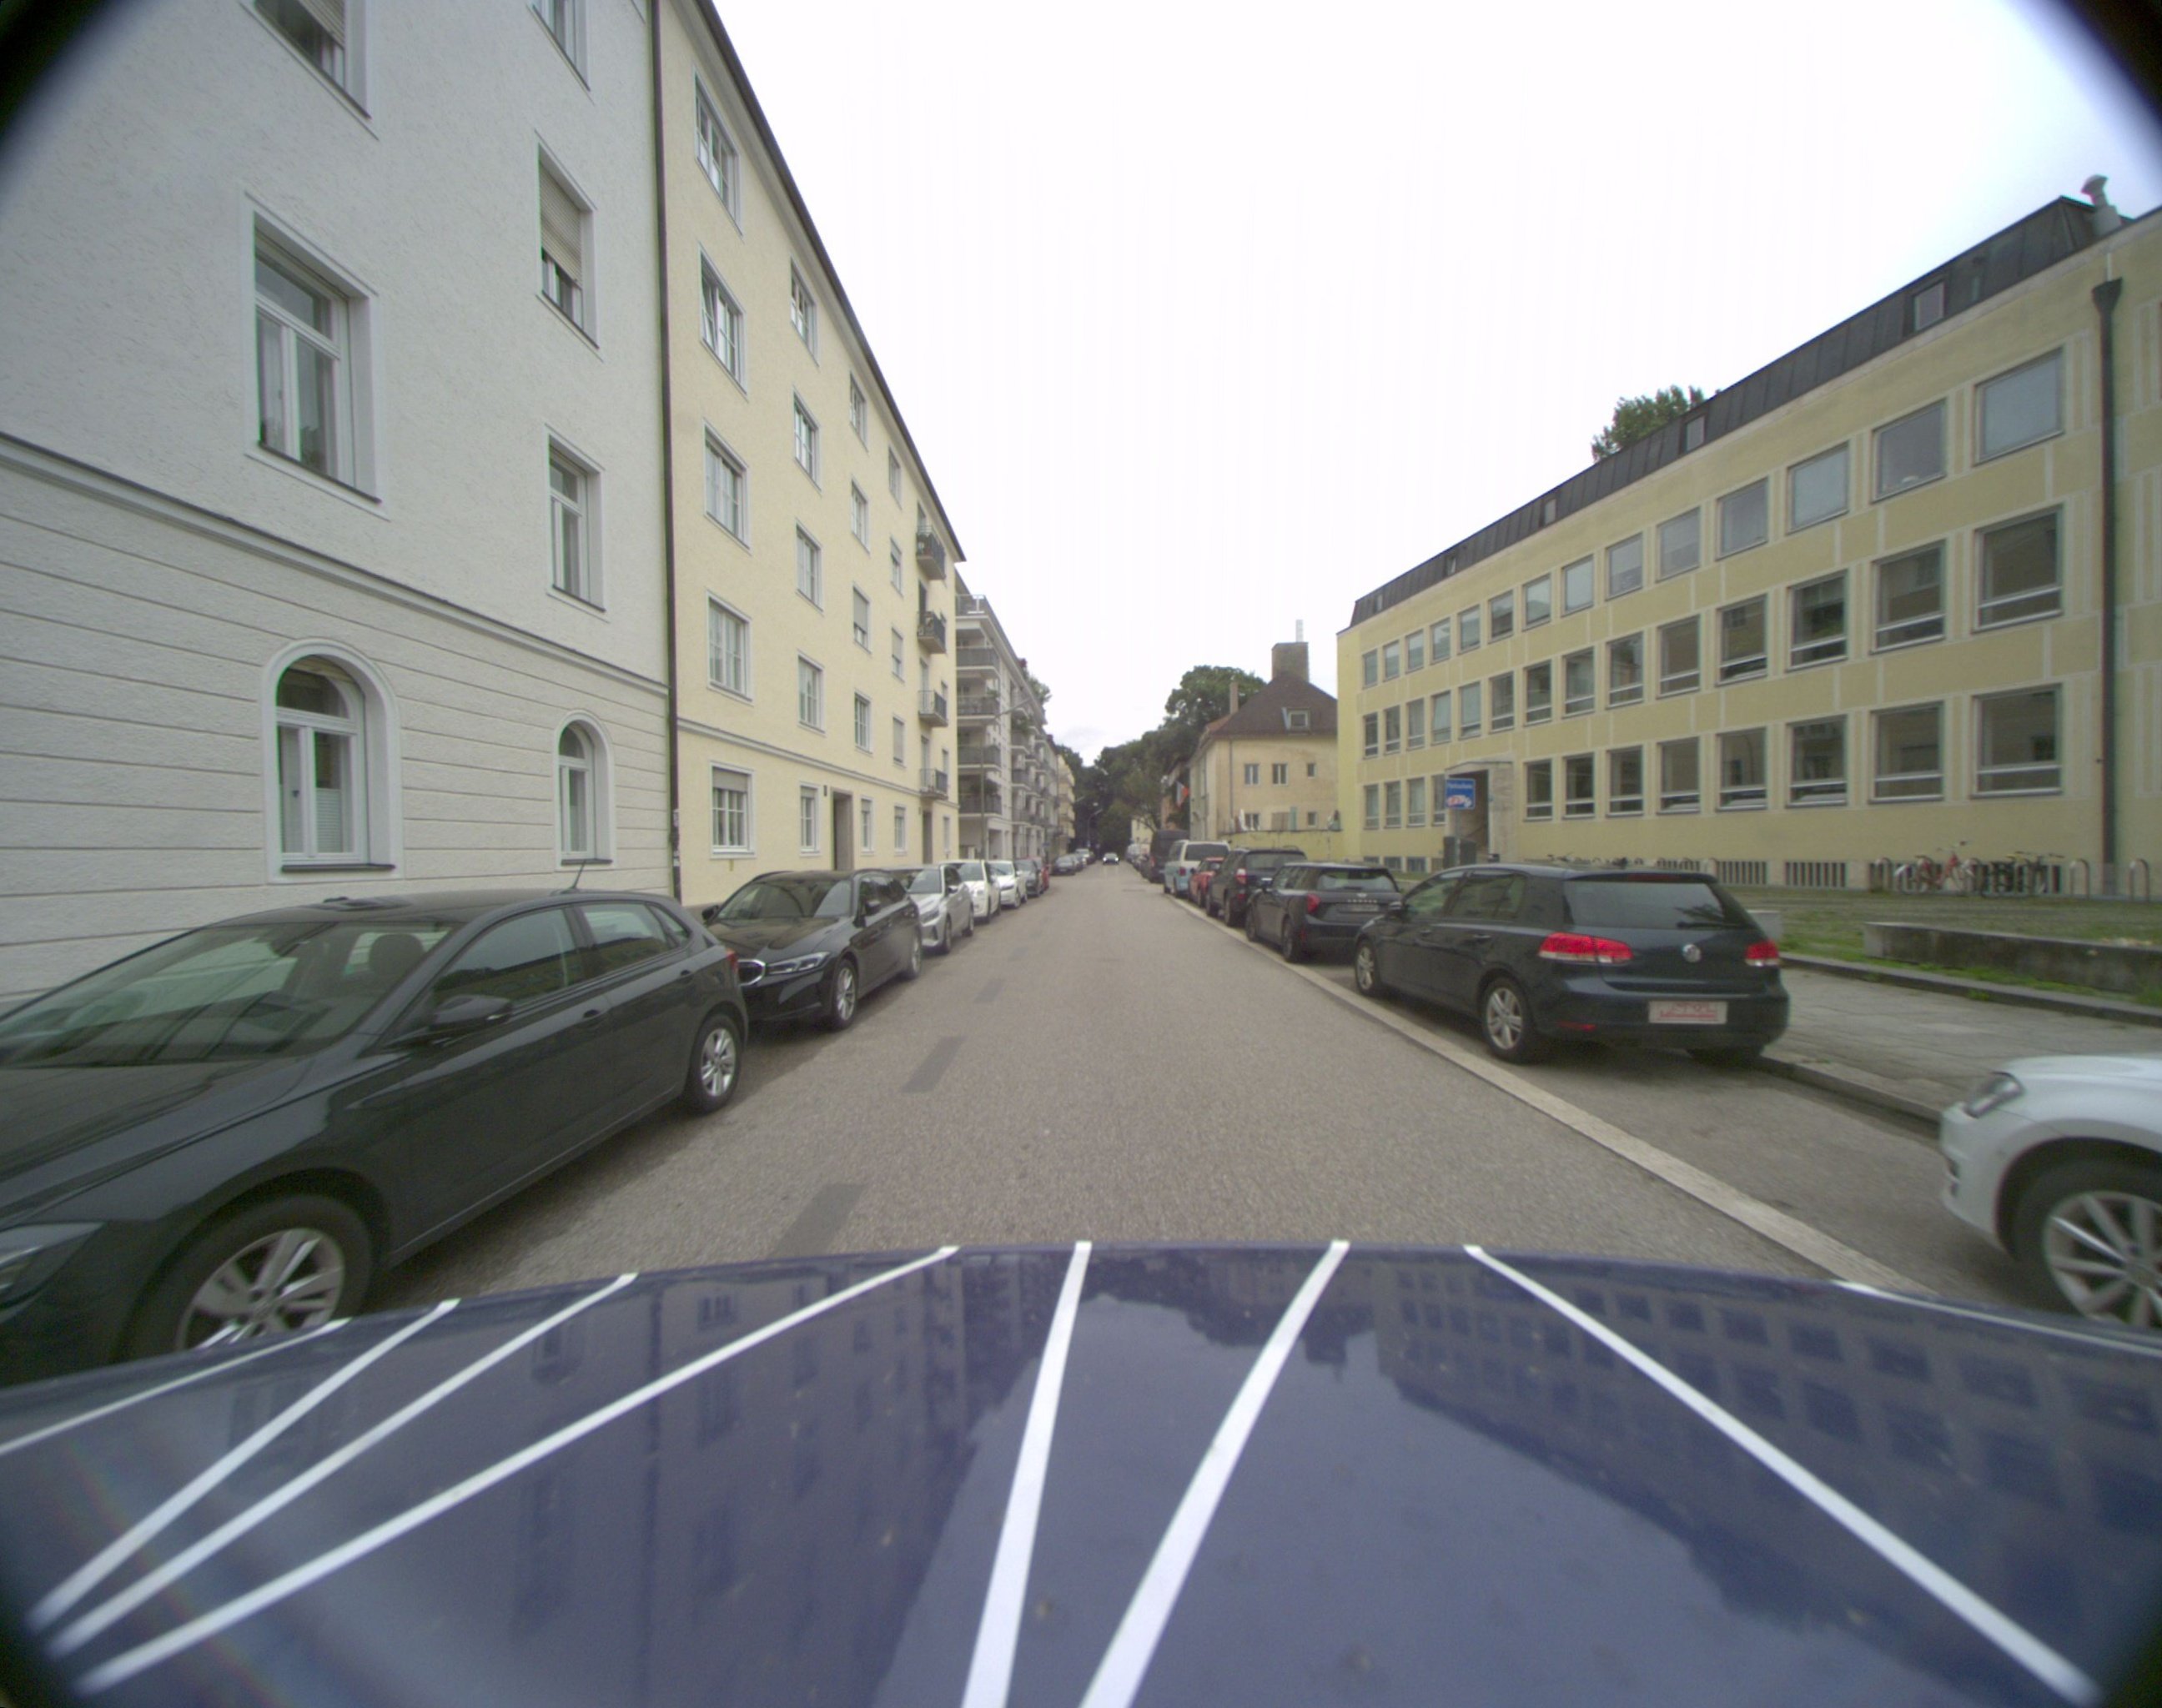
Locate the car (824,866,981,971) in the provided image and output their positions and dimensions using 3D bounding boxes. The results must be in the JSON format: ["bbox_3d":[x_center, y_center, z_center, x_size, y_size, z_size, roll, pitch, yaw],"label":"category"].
[{"bbox_3d":[-2.930,0.990,13.391,1.728,1.441,4.187,-2,0,0],"label":"car"}]

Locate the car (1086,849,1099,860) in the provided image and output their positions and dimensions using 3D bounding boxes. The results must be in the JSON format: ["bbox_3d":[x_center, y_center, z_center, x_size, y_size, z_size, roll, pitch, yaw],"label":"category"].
[{"bbox_3d":[1.655,0.083,111.304,1.771,1.607,4.263,-1,0,2],"label":"car"}]

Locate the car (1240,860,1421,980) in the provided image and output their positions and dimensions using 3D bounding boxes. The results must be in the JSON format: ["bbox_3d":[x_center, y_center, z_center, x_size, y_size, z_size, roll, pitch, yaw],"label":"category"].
[{"bbox_3d":[3.630,0.874,11.764,1.635,1.486,3.820,0,0,2],"label":"car"}]

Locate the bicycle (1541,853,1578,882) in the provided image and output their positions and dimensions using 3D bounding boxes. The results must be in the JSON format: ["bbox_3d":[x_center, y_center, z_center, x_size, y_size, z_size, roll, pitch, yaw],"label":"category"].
[{"bbox_3d":[16.730,0.459,26.577,1.413,0.939,0.413,-3,1,-27],"label":"bicycle"}]

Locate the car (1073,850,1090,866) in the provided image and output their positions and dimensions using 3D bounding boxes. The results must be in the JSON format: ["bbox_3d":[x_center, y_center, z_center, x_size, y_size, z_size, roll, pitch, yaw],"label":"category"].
[{"bbox_3d":[0.059,0.414,79.520,1.668,1.459,4.375,-1,1,0],"label":"car"}]

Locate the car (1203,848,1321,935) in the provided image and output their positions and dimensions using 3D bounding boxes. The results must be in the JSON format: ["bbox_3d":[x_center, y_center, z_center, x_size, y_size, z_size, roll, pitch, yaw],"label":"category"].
[{"bbox_3d":[3.856,0.717,16.883,1.719,1.680,4.141,1,1,2],"label":"car"}]

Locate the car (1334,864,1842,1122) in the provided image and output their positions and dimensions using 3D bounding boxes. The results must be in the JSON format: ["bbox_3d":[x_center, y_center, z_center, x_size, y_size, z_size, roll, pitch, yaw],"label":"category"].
[{"bbox_3d":[3.792,0.886,6.703,1.635,1.486,4.099,1,0,-2],"label":"car"}]

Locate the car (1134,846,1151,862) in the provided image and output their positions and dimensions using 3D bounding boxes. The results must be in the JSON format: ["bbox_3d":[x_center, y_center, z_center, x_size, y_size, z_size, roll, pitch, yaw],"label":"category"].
[{"bbox_3d":[6.814,0.011,84.648,1.719,1.746,4.251,0,0,2],"label":"car"}]

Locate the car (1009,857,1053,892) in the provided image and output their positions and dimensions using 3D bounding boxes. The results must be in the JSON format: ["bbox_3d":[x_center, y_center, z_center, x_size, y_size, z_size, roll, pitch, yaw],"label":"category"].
[{"bbox_3d":[-2.191,0.874,34.161,1.659,1.421,3.756,-2,0,1],"label":"car"}]

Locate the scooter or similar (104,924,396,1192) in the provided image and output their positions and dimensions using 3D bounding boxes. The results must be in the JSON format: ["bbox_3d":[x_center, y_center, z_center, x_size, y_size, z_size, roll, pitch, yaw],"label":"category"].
[{"bbox_3d":[-4.583,1.061,4.282,0.428,1.223,1.047,-2,0,2],"label":"scooter or similar"}]

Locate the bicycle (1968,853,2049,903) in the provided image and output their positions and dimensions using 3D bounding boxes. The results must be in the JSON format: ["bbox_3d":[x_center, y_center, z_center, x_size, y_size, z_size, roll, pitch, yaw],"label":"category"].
[{"bbox_3d":[19.036,0.484,15.596,1.412,0.939,0.414,-3,1,-11],"label":"bicycle"}]

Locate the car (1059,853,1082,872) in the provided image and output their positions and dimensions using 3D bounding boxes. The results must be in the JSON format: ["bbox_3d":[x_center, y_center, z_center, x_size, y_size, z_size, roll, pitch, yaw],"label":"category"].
[{"bbox_3d":[-0.828,0.687,62.599,1.620,1.458,3.747,-2,0,3],"label":"car"}]

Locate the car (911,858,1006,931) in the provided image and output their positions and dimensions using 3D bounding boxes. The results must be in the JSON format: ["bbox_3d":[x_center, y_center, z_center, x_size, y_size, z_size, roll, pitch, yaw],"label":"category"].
[{"bbox_3d":[-2.876,0.900,18.649,1.655,1.534,3.993,-2,0,-1],"label":"car"}]

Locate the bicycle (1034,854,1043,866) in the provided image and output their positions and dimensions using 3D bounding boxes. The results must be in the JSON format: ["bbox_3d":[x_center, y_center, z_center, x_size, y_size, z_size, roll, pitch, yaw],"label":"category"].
[{"bbox_3d":[-4.026,0.551,71.626,0.570,1.092,1.810,2,1,3],"label":"bicycle"}]

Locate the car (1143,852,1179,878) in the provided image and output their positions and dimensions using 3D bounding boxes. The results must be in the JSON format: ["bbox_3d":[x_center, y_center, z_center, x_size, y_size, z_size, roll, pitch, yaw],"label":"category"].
[{"bbox_3d":[4.725,0.636,45.416,1.657,1.488,3.908,1,0,-1],"label":"car"}]

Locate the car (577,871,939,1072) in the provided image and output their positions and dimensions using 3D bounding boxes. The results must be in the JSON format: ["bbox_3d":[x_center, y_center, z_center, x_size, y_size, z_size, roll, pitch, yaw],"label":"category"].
[{"bbox_3d":[-3.007,0.988,8.380,1.880,1.441,4.678,-2,0,1],"label":"car"}]

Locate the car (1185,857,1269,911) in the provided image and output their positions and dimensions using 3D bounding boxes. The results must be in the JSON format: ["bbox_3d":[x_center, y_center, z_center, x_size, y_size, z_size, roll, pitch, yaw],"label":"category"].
[{"bbox_3d":[4.187,0.828,22.360,1.809,1.398,3.709,1,0,2],"label":"car"}]

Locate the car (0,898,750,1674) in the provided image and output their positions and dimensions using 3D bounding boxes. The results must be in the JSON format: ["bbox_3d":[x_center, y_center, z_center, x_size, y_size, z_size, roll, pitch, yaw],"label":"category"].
[{"bbox_3d":[-3.190,1.046,2.999,1.832,1.441,4.084,-2,0,2],"label":"car"}]

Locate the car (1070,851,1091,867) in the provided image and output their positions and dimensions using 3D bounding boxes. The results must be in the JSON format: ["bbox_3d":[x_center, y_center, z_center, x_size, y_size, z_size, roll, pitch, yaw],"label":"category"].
[{"bbox_3d":[-0.011,0.452,73.592,1.842,1.524,4.022,0,0,2],"label":"car"}]

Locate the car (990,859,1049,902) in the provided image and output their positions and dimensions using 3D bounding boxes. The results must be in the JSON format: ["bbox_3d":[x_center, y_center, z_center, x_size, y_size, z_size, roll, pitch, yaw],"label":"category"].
[{"bbox_3d":[-2.272,0.940,29.183,1.777,1.421,4.615,-2,0,1],"label":"car"}]

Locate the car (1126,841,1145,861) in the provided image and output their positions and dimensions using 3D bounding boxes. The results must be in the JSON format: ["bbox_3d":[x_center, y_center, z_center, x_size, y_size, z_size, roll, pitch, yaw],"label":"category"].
[{"bbox_3d":[6.755,-0.378,95.134,2.117,2.461,5.232,0,0,2],"label":"car"}]

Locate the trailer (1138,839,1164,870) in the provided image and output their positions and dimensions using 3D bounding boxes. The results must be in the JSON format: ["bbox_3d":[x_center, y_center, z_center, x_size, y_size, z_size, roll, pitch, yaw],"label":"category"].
[{"bbox_3d":[5.777,0.019,62.554,1.980,2.457,4.578,2,1,6],"label":"trailer"}]

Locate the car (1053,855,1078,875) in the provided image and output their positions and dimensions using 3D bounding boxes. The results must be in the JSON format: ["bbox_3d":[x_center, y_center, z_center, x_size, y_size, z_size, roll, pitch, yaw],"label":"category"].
[{"bbox_3d":[-1.164,0.804,57.702,1.775,1.467,4.217,-1,0,0],"label":"car"}]

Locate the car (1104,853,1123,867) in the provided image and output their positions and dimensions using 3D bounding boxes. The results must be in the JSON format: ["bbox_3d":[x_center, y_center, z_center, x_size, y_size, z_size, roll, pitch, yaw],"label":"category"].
[{"bbox_3d":[3.719,0.705,87.407,1.998,1.521,4.000,-2,0,2],"label":"car"}]

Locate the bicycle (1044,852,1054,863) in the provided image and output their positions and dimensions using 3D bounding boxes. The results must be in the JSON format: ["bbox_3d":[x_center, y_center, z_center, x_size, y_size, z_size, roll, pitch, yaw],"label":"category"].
[{"bbox_3d":[-3.357,0.380,80.228,0.803,1.165,1.974,-1,0,3],"label":"bicycle"}]

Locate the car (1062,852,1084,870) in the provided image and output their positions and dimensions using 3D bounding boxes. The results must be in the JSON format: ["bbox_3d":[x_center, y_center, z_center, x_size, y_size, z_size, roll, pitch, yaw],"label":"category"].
[{"bbox_3d":[-0.645,0.615,67.577,1.795,1.473,4.603,-2,1,1],"label":"car"}]

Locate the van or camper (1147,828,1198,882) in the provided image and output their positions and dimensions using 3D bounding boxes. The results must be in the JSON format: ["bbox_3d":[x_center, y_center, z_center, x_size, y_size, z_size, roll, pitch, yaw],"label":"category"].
[{"bbox_3d":[4.759,0.021,40.150,2.298,2.635,5.562,1,0,3],"label":"van or camper"}]

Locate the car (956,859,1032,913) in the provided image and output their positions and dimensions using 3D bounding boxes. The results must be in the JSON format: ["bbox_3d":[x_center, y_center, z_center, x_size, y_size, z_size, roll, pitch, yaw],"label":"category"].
[{"bbox_3d":[-2.561,0.920,23.361,1.729,1.421,4.293,-2,0,1],"label":"car"}]

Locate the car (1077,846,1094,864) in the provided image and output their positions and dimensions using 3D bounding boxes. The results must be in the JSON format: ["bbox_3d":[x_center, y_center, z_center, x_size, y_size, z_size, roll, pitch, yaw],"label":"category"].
[{"bbox_3d":[0.607,0.114,94.341,1.858,2.019,4.784,-2,0,3],"label":"car"}]

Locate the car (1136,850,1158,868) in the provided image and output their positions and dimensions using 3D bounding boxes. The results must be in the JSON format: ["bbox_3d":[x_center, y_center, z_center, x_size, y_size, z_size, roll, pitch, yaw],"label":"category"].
[{"bbox_3d":[5.874,0.407,67.838,1.683,1.521,4.107,0,0,2],"label":"car"}]

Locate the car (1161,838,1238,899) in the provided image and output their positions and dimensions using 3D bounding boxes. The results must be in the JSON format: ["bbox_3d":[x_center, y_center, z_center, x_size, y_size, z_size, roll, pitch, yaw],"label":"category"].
[{"bbox_3d":[4.102,0.484,27.167,1.920,1.948,4.961,1,0,0],"label":"car"}]

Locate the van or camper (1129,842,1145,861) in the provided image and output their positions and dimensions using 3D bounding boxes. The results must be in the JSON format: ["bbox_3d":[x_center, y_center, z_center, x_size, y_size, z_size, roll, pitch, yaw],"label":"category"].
[{"bbox_3d":[8.198,-0.394,111.423,2.116,2.646,4.958,0,0,2],"label":"van or camper"}]

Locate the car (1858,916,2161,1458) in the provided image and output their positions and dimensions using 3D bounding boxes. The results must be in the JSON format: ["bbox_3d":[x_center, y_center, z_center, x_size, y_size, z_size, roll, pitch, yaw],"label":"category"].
[{"bbox_3d":[3.855,0.957,0.735,1.745,1.414,4.293,0,0,-1],"label":"car"}]

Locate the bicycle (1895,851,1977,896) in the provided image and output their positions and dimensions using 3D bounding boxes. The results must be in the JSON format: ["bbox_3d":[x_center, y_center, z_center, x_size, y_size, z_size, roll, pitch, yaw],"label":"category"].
[{"bbox_3d":[19.241,0.436,17.108,1.410,0.939,0.414,-2,1,-2],"label":"bicycle"}]
